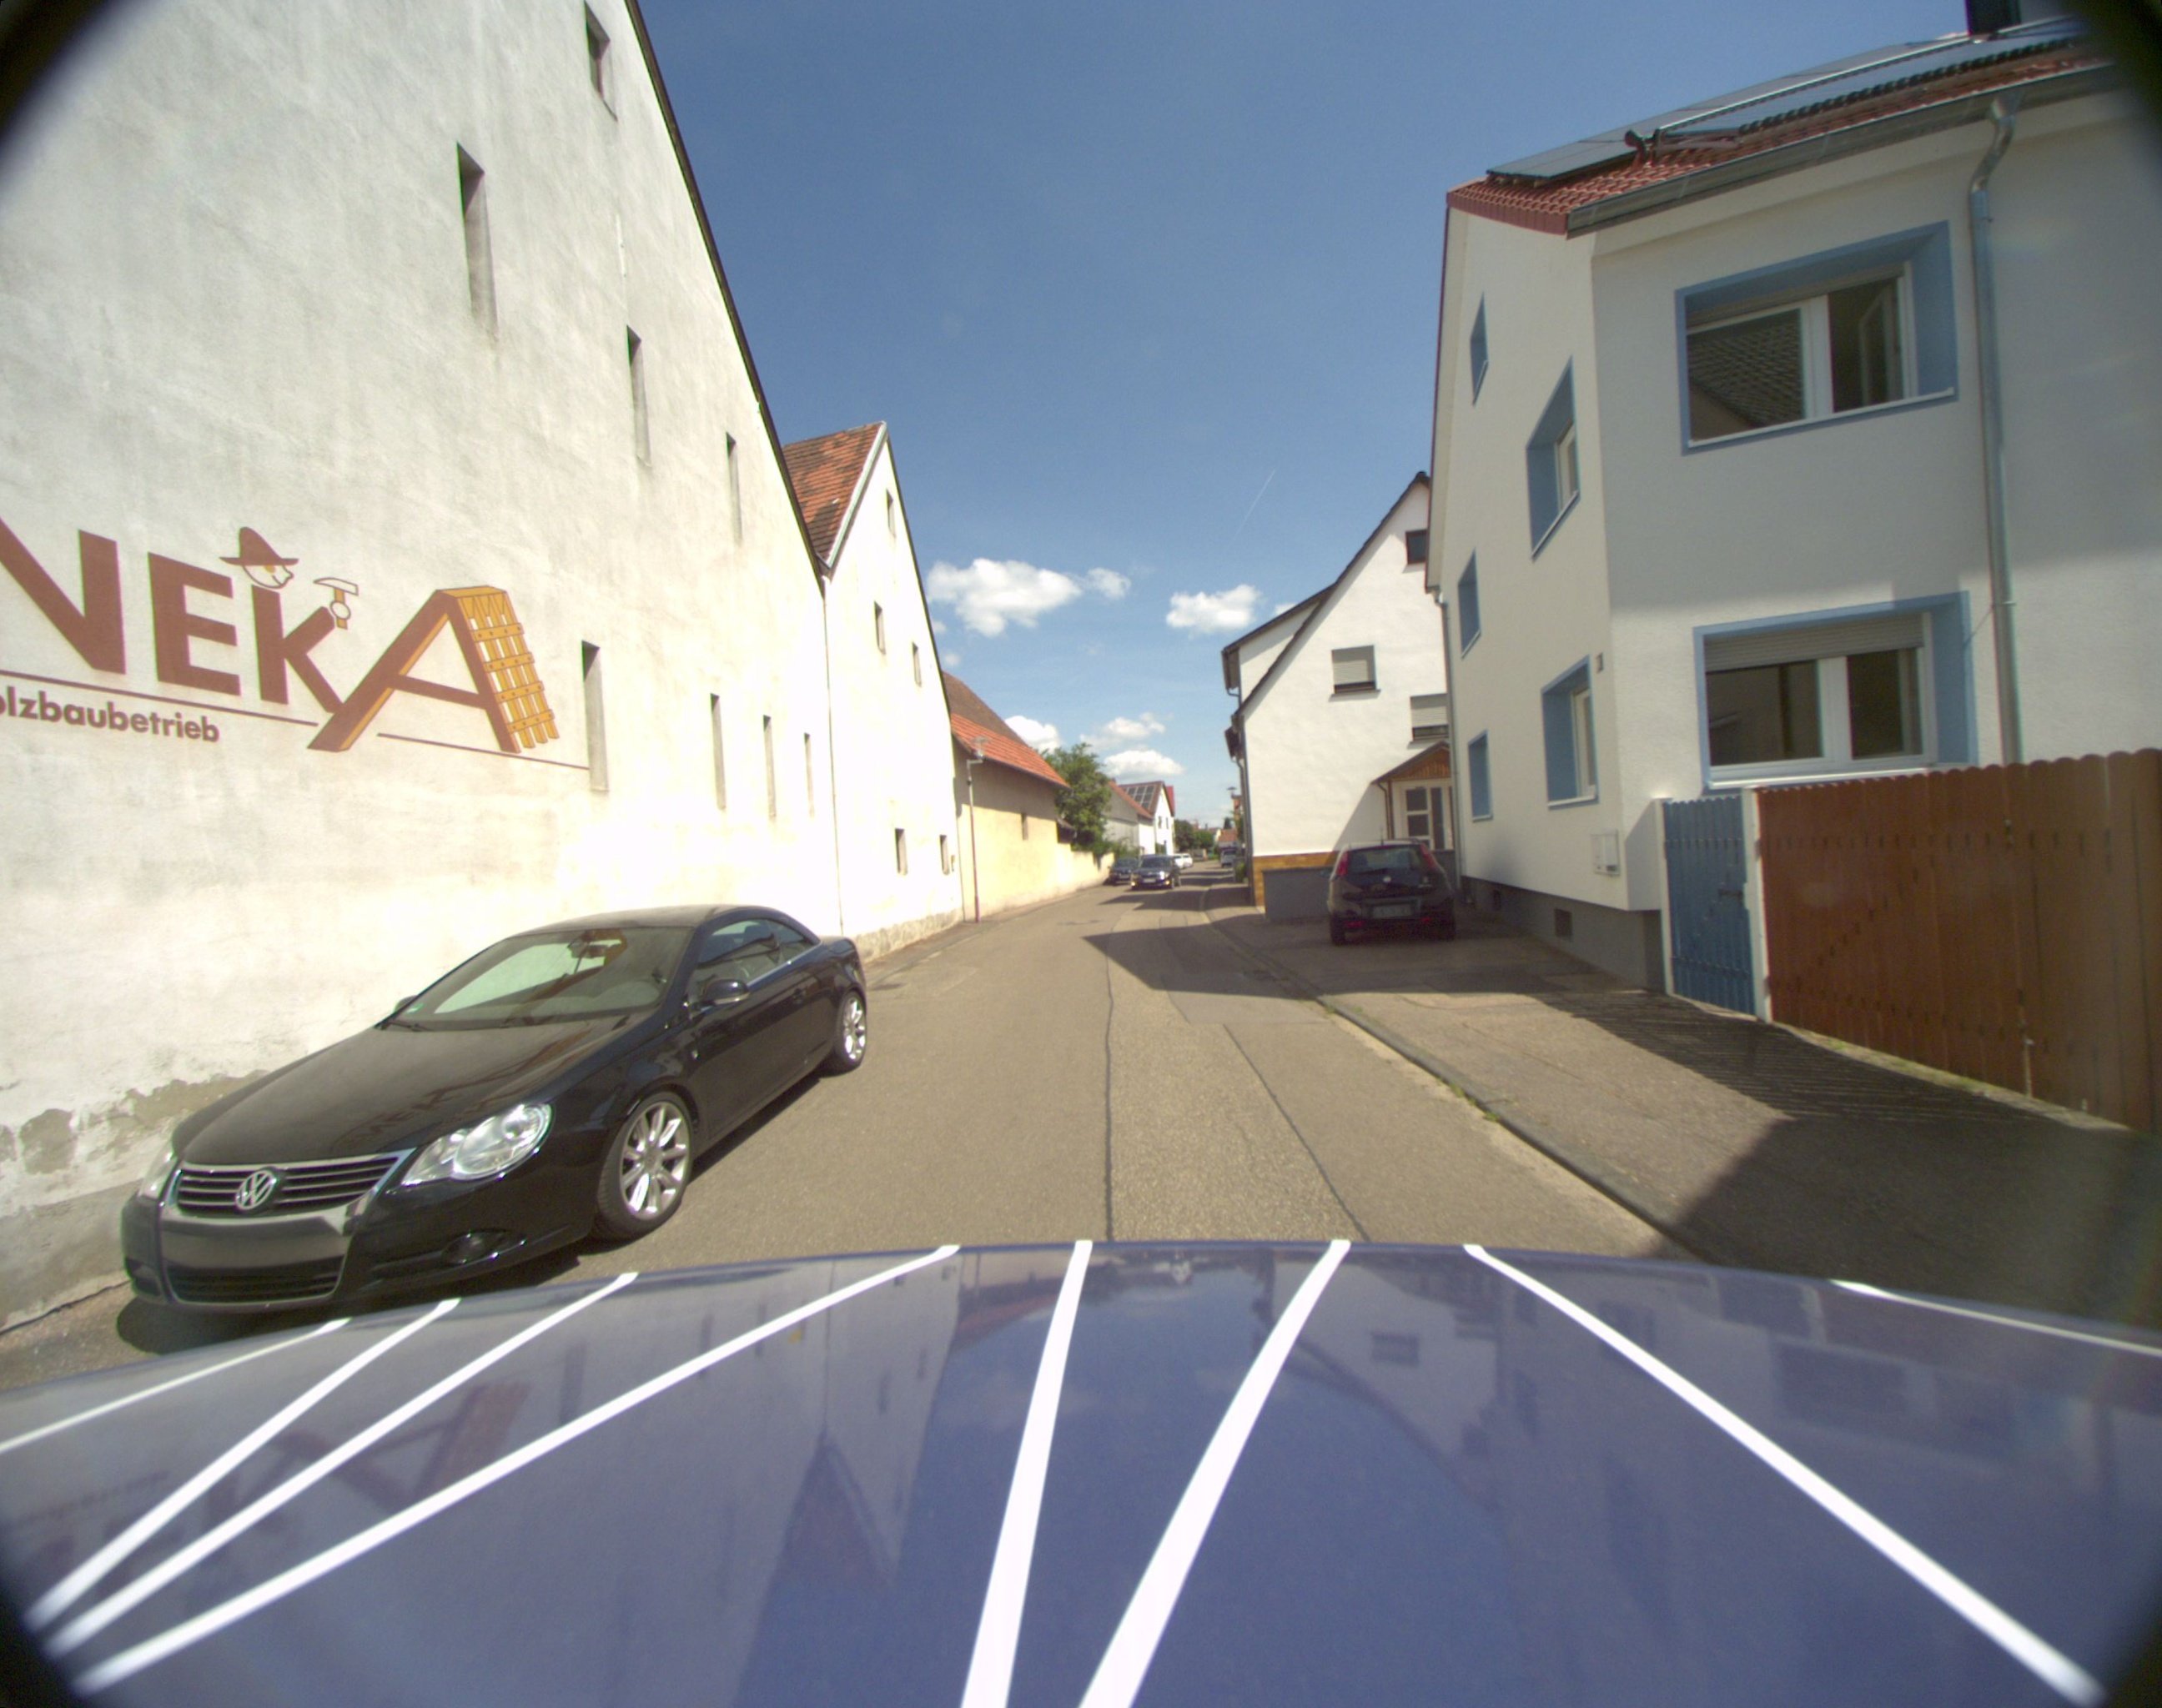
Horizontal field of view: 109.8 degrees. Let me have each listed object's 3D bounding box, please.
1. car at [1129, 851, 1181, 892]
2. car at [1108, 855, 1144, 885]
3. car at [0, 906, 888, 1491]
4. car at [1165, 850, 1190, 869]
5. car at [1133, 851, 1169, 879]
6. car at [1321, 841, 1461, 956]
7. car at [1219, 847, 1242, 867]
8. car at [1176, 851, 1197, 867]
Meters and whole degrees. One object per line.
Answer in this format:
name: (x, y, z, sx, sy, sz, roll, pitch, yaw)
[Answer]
car: (3.363, 0.733, 33.857, 1.783, 1.527, 4.713, -3, 0, 11)
car: (2.549, 0.868, 42.642, 1.784, 1.470, 4.001, -3, 0, 6)
car: (-2.813, 1.209, 4.468, 1.900, 1.357, 4.415, -4, 0, 3)
car: (9.106, 0.507, 71.521, 1.783, 1.491, 4.042, -6, 0, 12)
car: (4.776, 0.703, 51.391, 1.783, 1.600, 4.003, -6, 0, 12)
car: (4.757, 0.590, 12.004, 1.640, 1.446, 3.791, -5, -1, 19)
car: (13.735, 0.229, 69.669, 1.783, 1.600, 4.003, -6, 0, 12)
car: (11.623, 0.531, 83.742, 1.783, 1.491, 4.042, -6, 0, 12)
